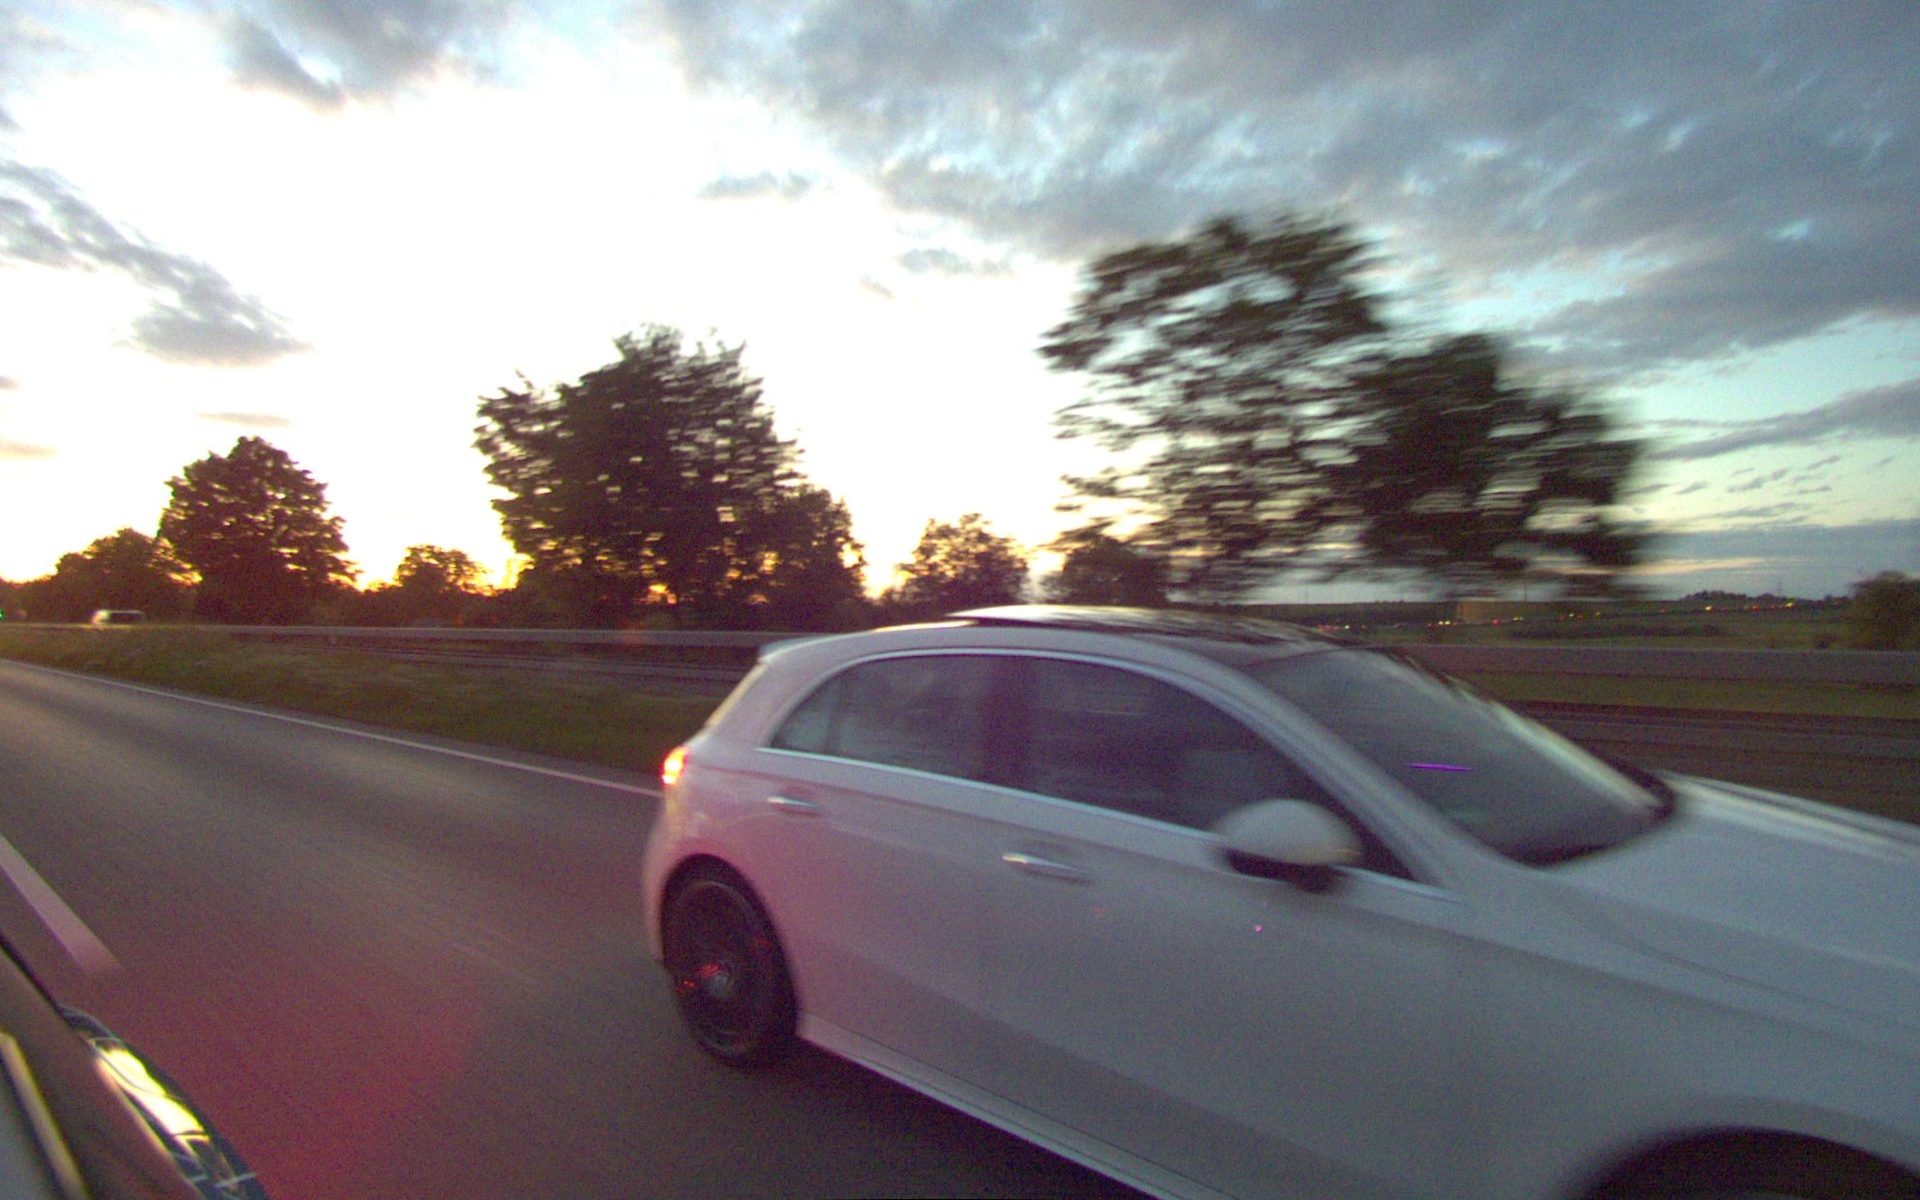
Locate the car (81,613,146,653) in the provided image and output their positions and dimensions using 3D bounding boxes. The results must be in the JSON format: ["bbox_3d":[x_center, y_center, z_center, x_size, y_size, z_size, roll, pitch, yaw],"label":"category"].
[{"bbox_3d":[-47.825,1.826,57.158,5.344,2.115,1.945,-1,0,40],"label":"car"}]

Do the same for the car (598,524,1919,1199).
[{"bbox_3d":[0.961,0.654,2.693,4.578,1.501,1.625,-1,0,42],"label":"car"}]
